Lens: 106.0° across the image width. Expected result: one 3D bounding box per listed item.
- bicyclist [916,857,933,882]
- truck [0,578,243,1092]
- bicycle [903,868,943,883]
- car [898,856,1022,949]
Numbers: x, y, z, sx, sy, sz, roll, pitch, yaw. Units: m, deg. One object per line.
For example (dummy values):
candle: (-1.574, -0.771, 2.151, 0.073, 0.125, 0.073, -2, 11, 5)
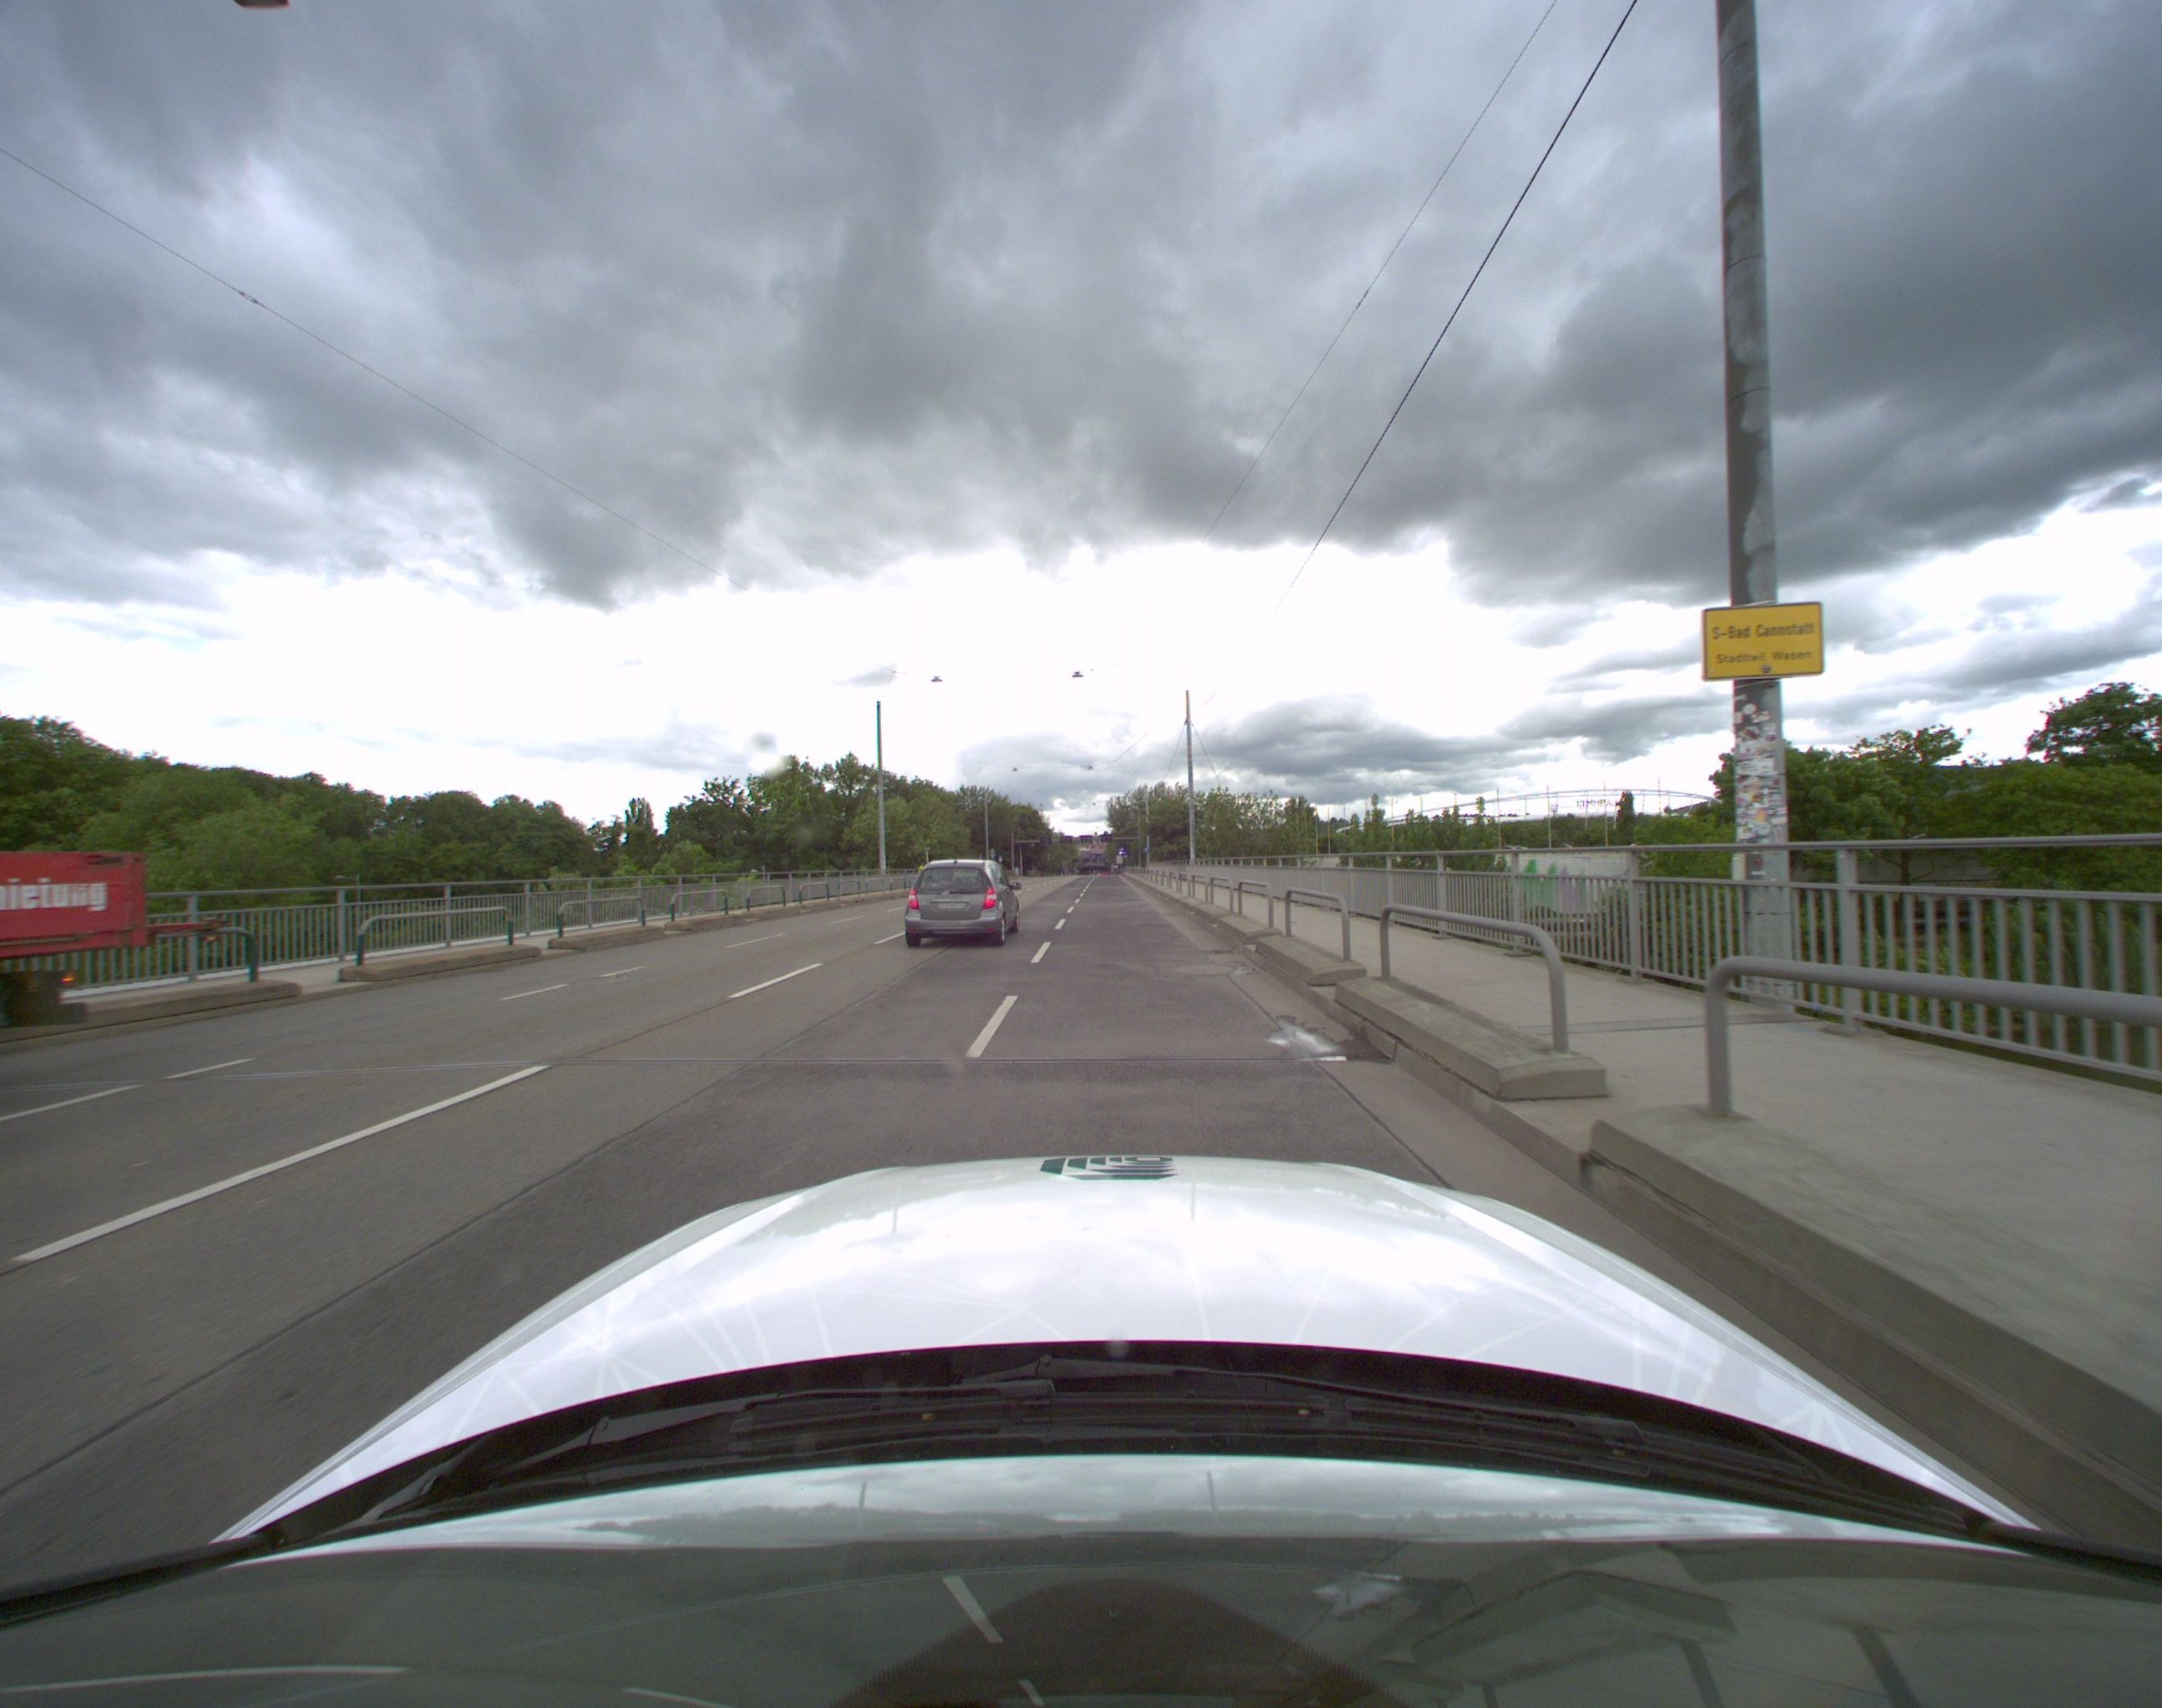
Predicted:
bicyclist: (-11.619, 1.157, 60.563, 1.130, 1.764, 0.904, -1, -1, -4)
truck: (-9.063, -0.078, 2.185, 2.995, 3.565, 9.985, -3, 0, 1)
bicycle: (-11.710, 1.600, 60.553, 2.785, 1.051, 0.919, -2, -1, -4)
car: (-2.220, 0.841, 15.900, 1.739, 1.550, 3.872, -1, 0, 1)
